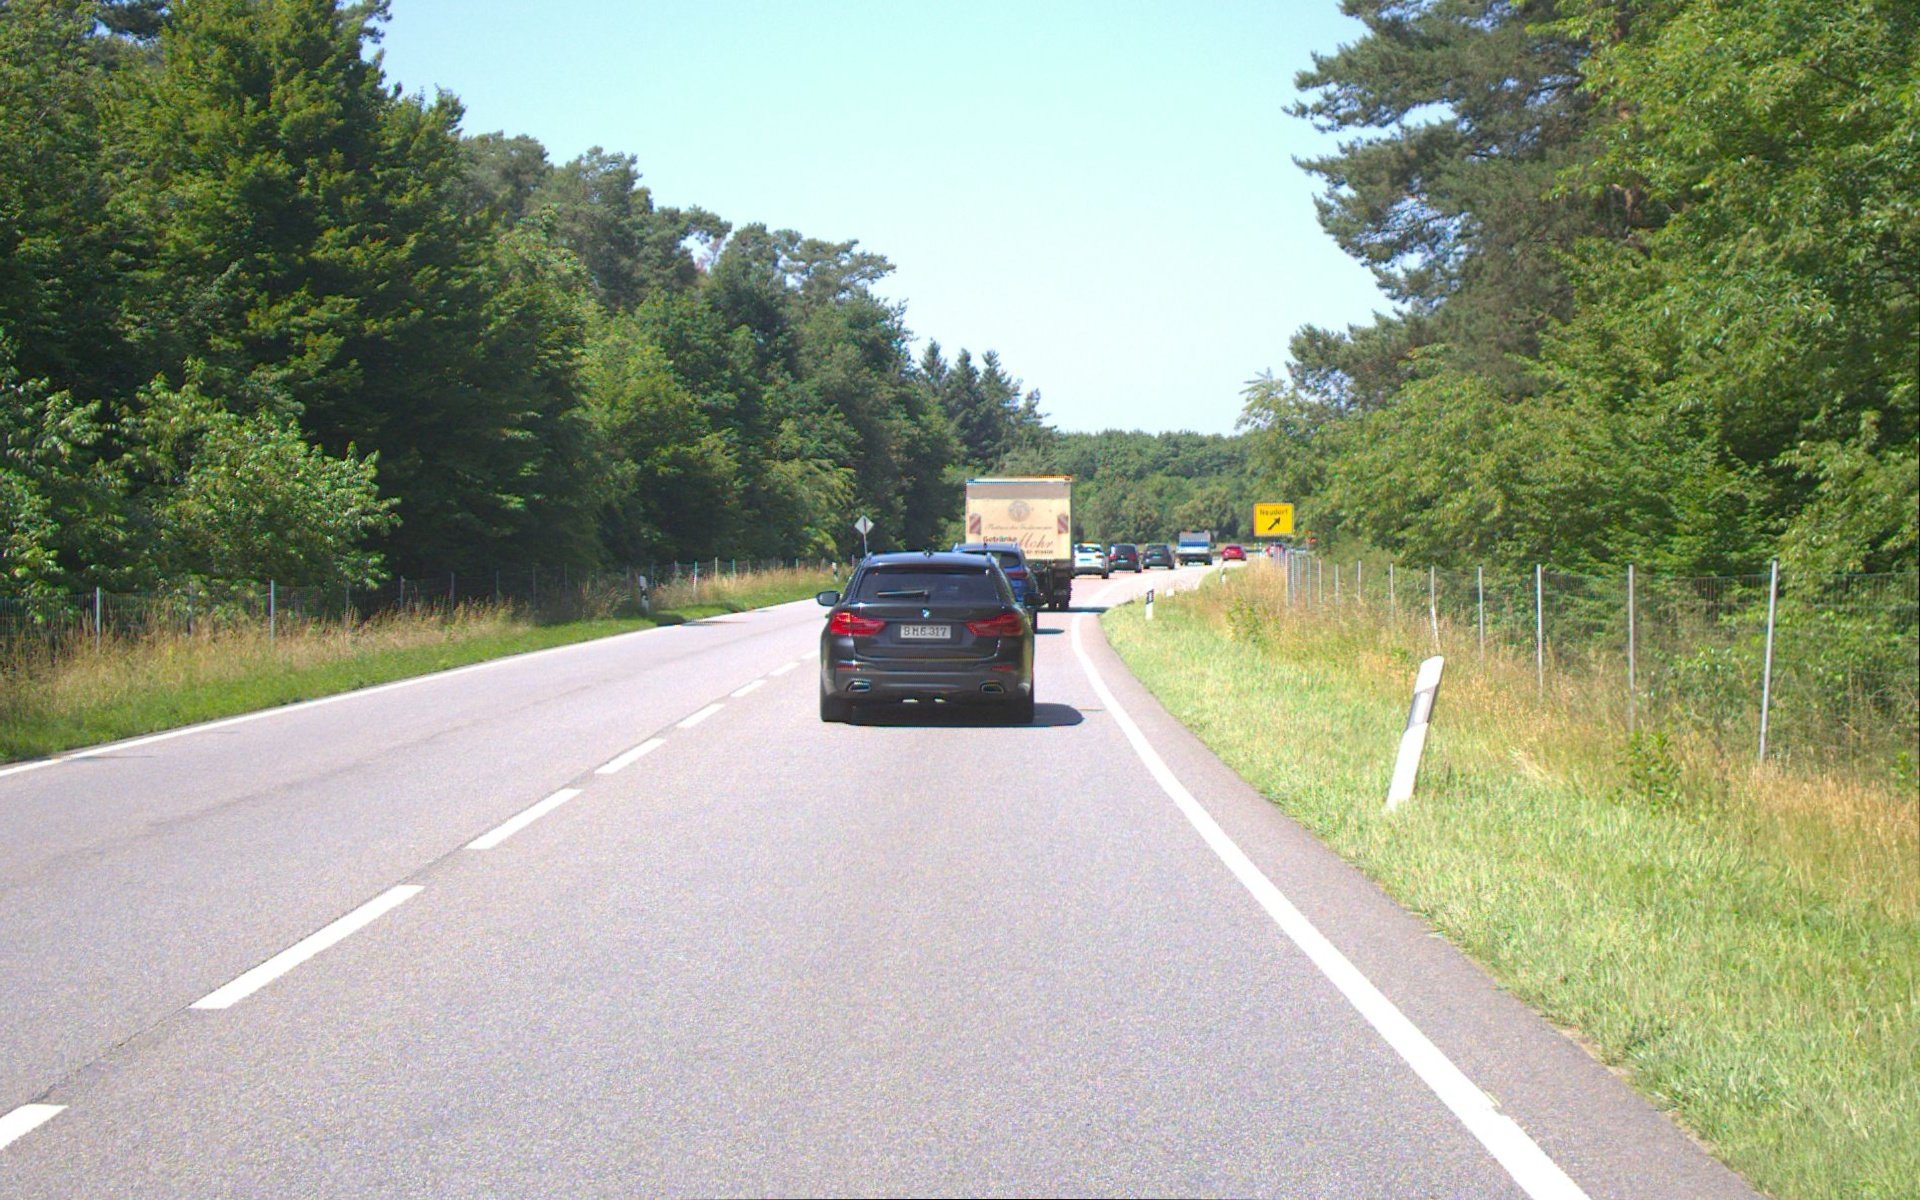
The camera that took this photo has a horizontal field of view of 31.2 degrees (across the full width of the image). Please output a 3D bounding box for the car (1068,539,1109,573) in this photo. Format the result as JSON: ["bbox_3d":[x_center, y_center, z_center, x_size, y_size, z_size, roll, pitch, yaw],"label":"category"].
[{"bbox_3d":[6.037,-2.077,161.908,1.863,1.600,4.000,0,1,1],"label":"car"}]

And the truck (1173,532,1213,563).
[{"bbox_3d":[16.621,-3.762,245.441,2.564,2.195,4.974,0,1,1],"label":"truck"}]

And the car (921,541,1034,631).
[{"bbox_3d":[0.284,-0.275,62.470,1.947,1.536,4.000,-1,1,-1],"label":"car"}]

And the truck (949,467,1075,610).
[{"bbox_3d":[1.339,-1.539,84.821,2.966,3.376,6.438,0,1,2],"label":"truck"}]

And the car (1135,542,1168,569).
[{"bbox_3d":[12.097,-2.809,217.443,1.994,1.631,4.000,-1,1,3],"label":"car"}]

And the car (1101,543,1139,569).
[{"bbox_3d":[9.046,-2.487,194.183,1.994,1.415,4.000,1,1,5],"label":"car"}]

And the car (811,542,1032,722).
[{"bbox_3d":[-0.351,0.231,30.543,1.820,1.465,4.000,-1,1,-1],"label":"car"}]
